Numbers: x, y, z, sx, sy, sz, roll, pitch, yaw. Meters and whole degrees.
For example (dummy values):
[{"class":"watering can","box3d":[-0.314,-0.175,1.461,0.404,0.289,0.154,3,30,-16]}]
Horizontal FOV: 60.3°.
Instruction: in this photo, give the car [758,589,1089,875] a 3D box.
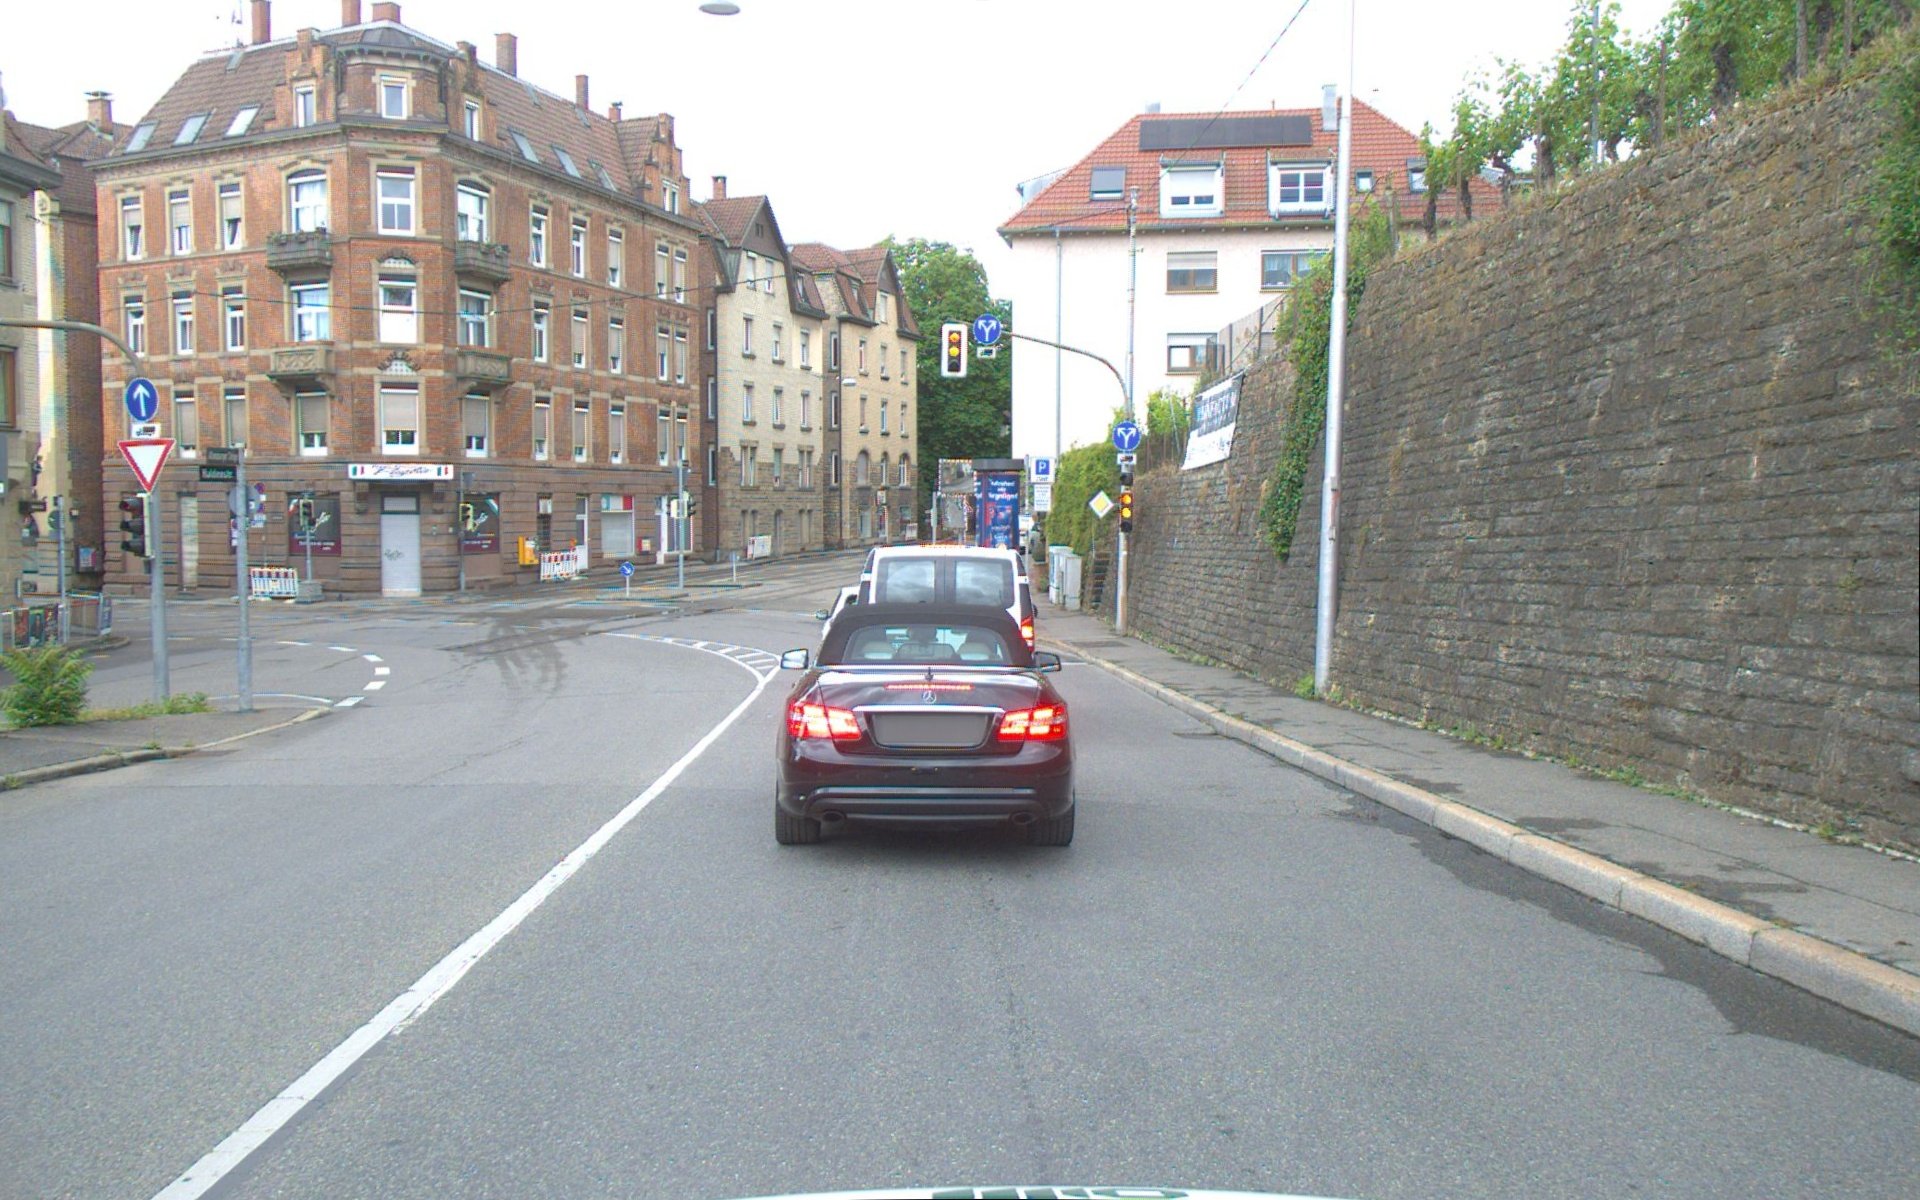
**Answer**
[{"class":"car","box3d":[-0.223,0.677,10.880,1.726,1.434,4.398,0,1,-1]}]

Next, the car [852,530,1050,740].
[{"class":"car","box3d":[-0.118,0.291,17.937,1.853,1.962,4.645,0,1,-1]}]

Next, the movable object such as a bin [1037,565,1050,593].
[{"class":"movable object such as a bin","box3d":[2.721,-0.688,53.863,0.337,0.927,0.494,0,1,-7]}]

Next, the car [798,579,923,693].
[{"class":"car","box3d":[-1.375,0.456,24.142,1.647,1.491,3.918,0,1,-1]}]
